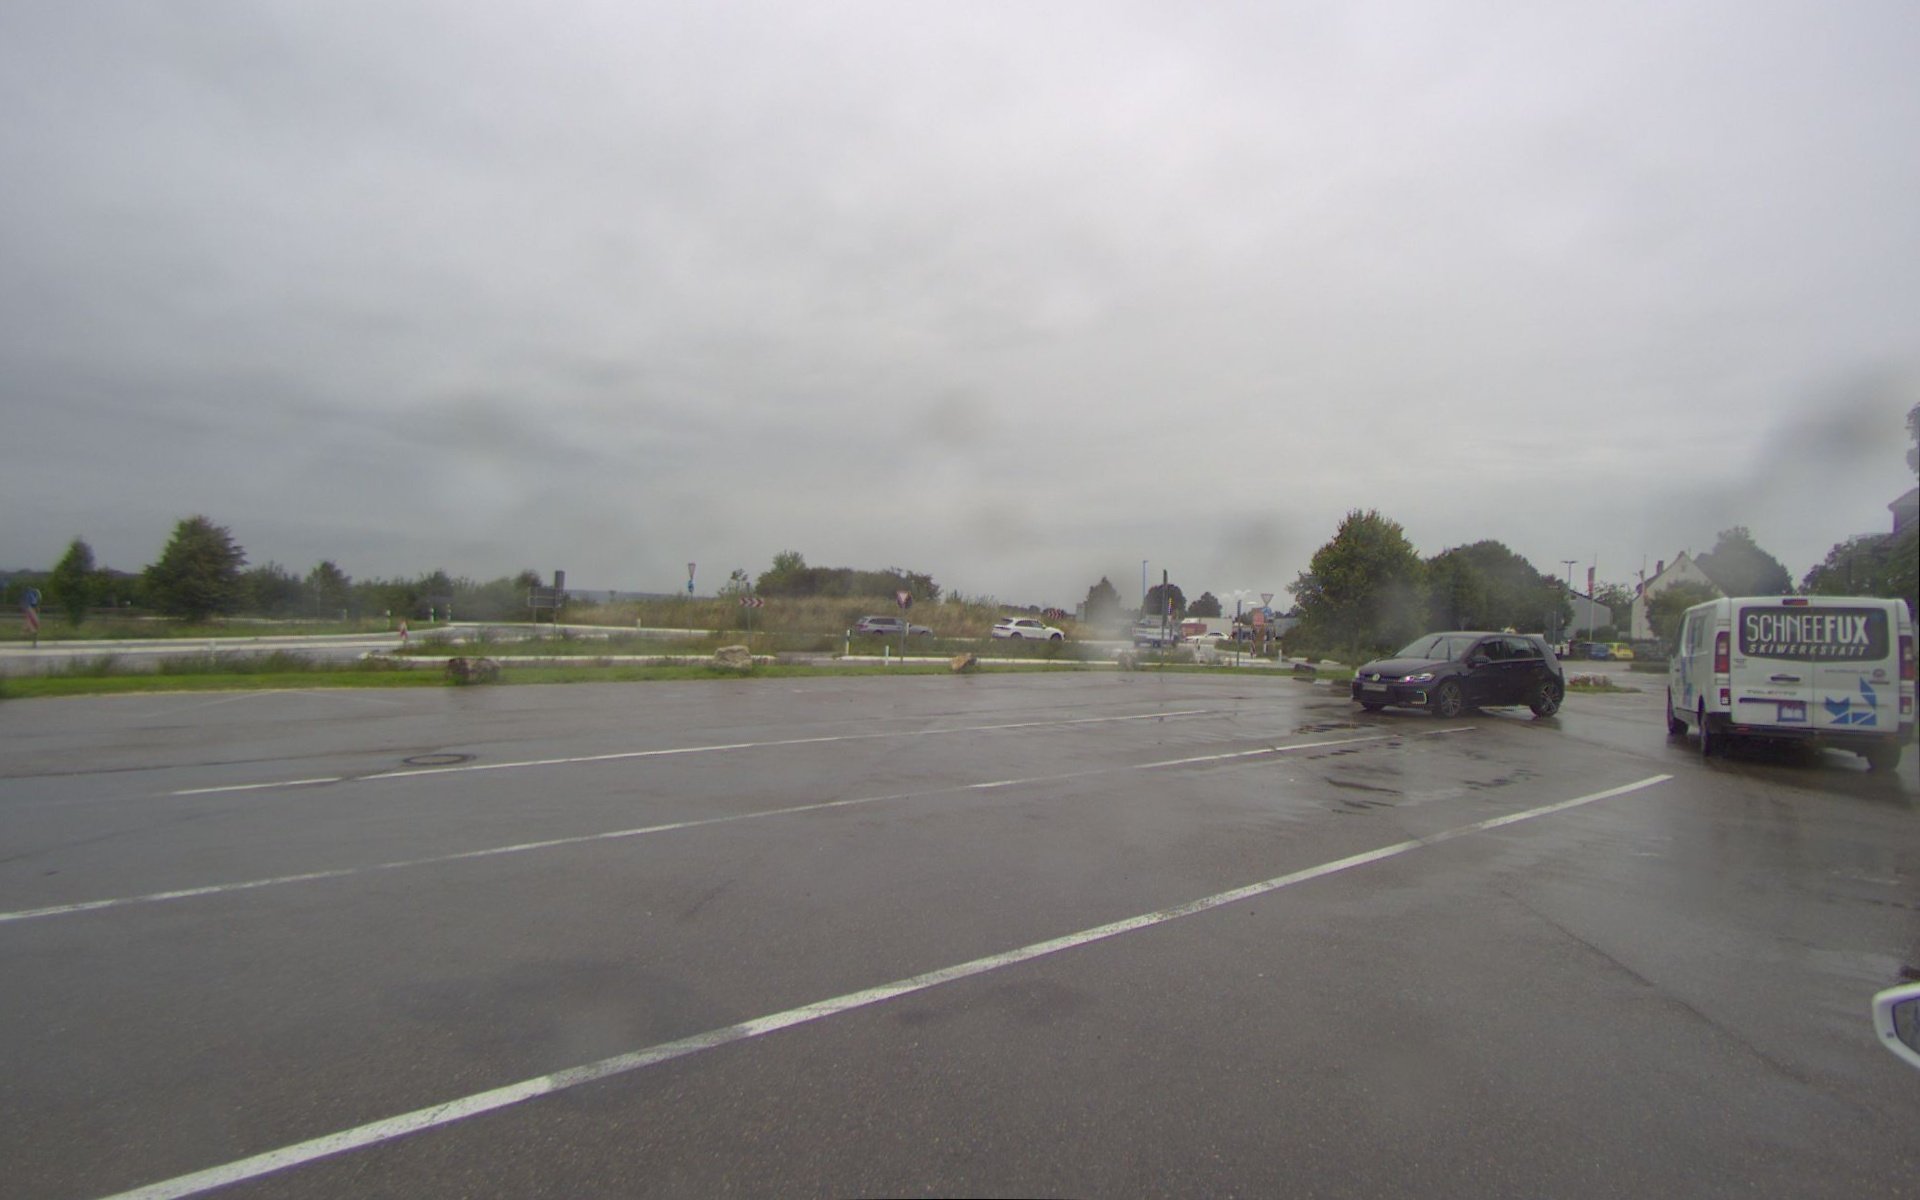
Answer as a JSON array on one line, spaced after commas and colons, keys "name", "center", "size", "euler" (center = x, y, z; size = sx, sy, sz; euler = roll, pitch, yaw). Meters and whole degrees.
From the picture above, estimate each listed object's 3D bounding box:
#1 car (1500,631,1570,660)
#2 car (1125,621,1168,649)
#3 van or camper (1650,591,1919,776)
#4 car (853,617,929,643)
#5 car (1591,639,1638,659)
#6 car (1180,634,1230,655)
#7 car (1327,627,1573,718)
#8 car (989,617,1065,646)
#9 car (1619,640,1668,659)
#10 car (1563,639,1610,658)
[{"name": "car", "center": [44.984, 3.540, 78.604], "size": [1.634, 2.060, 4.476], "euler": [2, -1, -43]}, {"name": "car", "center": [13.391, 2.535, 72.100], "size": [1.962, 1.897, 4.642], "euler": [1, -1, 24]}, {"name": "van or camper", "center": [10.823, 0.993, 13.537], "size": [2.156, 1.971, 5.187], "euler": [1, -2, 31]}, {"name": "car", "center": [-3.923, 1.711, 57.365], "size": [3.986, 1.343, 1.684], "euler": [2, -1, -23]}, {"name": "car", "center": [54.156, 4.045, 83.192], "size": [1.554, 1.477, 3.681], "euler": [1, -1, 0]}, {"name": "car", "center": [23.242, 4.210, 95.396], "size": [4.292, 1.781, 1.744], "euler": [2, -2, -13]}, {"name": "car", "center": [8.810, 1.273, 18.067], "size": [4.020, 1.452, 1.770], "euler": [2, -1, -23]}, {"name": "car", "center": [4.048, 1.912, 60.926], "size": [4.323, 1.605, 1.685], "euler": [2, -1, -23]}, {"name": "car", "center": [56.369, 4.070, 82.898], "size": [1.554, 1.477, 3.681], "euler": [1, -1, 0]}, {"name": "car", "center": [51.465, 3.949, 82.600], "size": [1.525, 1.477, 3.681], "euler": [1, -1, 0]}]
